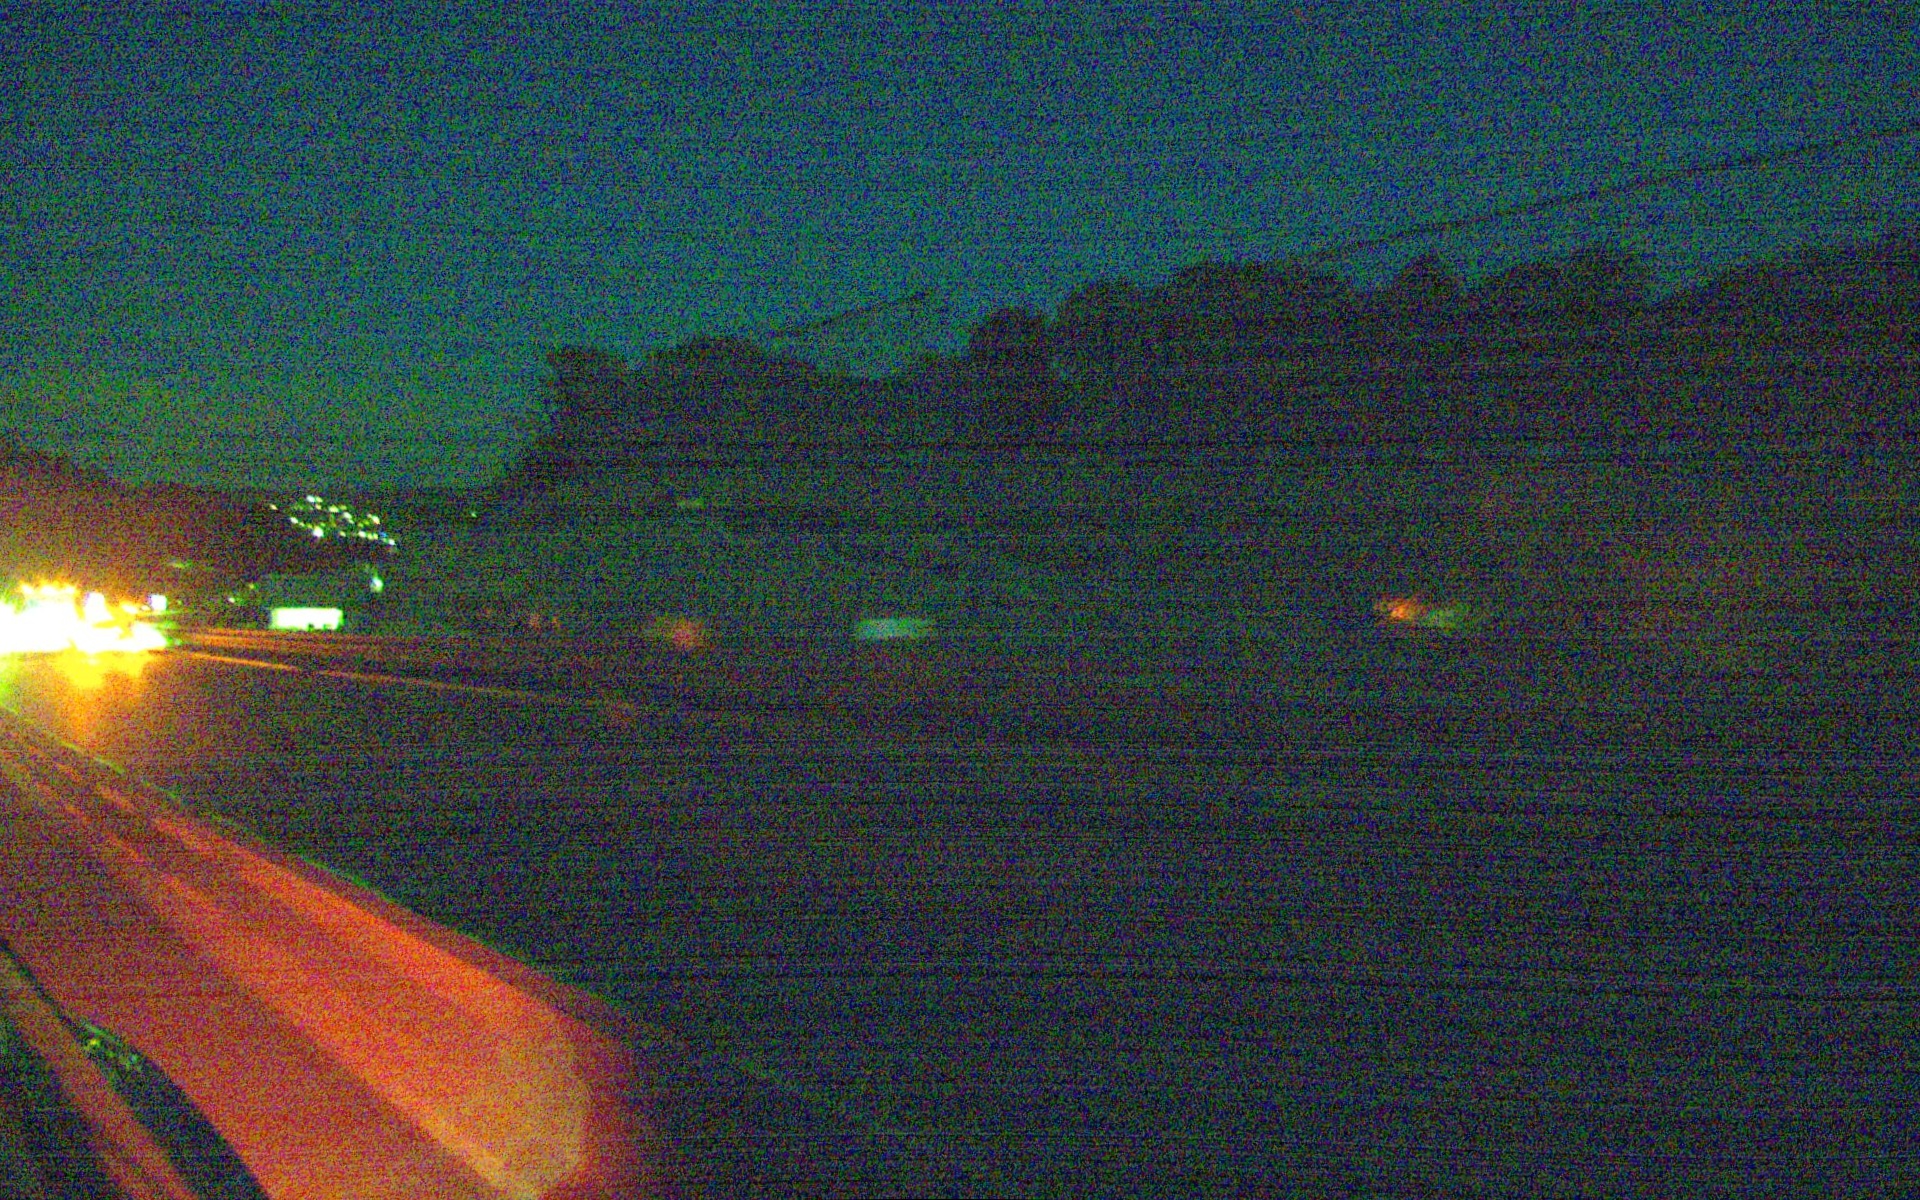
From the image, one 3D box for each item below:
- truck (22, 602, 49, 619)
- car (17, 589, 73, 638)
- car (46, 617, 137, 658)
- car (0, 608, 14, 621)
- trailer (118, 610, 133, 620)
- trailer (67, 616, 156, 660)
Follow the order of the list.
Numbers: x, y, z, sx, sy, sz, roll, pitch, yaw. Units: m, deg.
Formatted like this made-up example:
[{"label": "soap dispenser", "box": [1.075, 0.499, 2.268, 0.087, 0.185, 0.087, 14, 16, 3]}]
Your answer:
[{"label": "truck", "box": [-133.070, 1.558, 145.700, 2.389, 2.443, 7.105, 1, -1, -38]}, {"label": "car", "box": [-61.443, 0.832, 67.897, 2.457, 3.129, 7.390, 1, 0, -45]}, {"label": "car", "box": [-32.308, 1.361, 37.597, 4.950, 1.437, 1.892, -1, -2, 41]}, {"label": "car", "box": [-125.480, 1.884, 132.499, 1.664, 1.641, 4.733, 1, -2, -36]}, {"label": "trailer", "box": [-140.332, 2.500, 170.193, 1.987, 1.652, 3.424, 1, 0, -39]}, {"label": "trailer", "box": [-29.219, 1.292, 34.824, 3.349, 1.437, 1.864, -1, -2, 41]}]
